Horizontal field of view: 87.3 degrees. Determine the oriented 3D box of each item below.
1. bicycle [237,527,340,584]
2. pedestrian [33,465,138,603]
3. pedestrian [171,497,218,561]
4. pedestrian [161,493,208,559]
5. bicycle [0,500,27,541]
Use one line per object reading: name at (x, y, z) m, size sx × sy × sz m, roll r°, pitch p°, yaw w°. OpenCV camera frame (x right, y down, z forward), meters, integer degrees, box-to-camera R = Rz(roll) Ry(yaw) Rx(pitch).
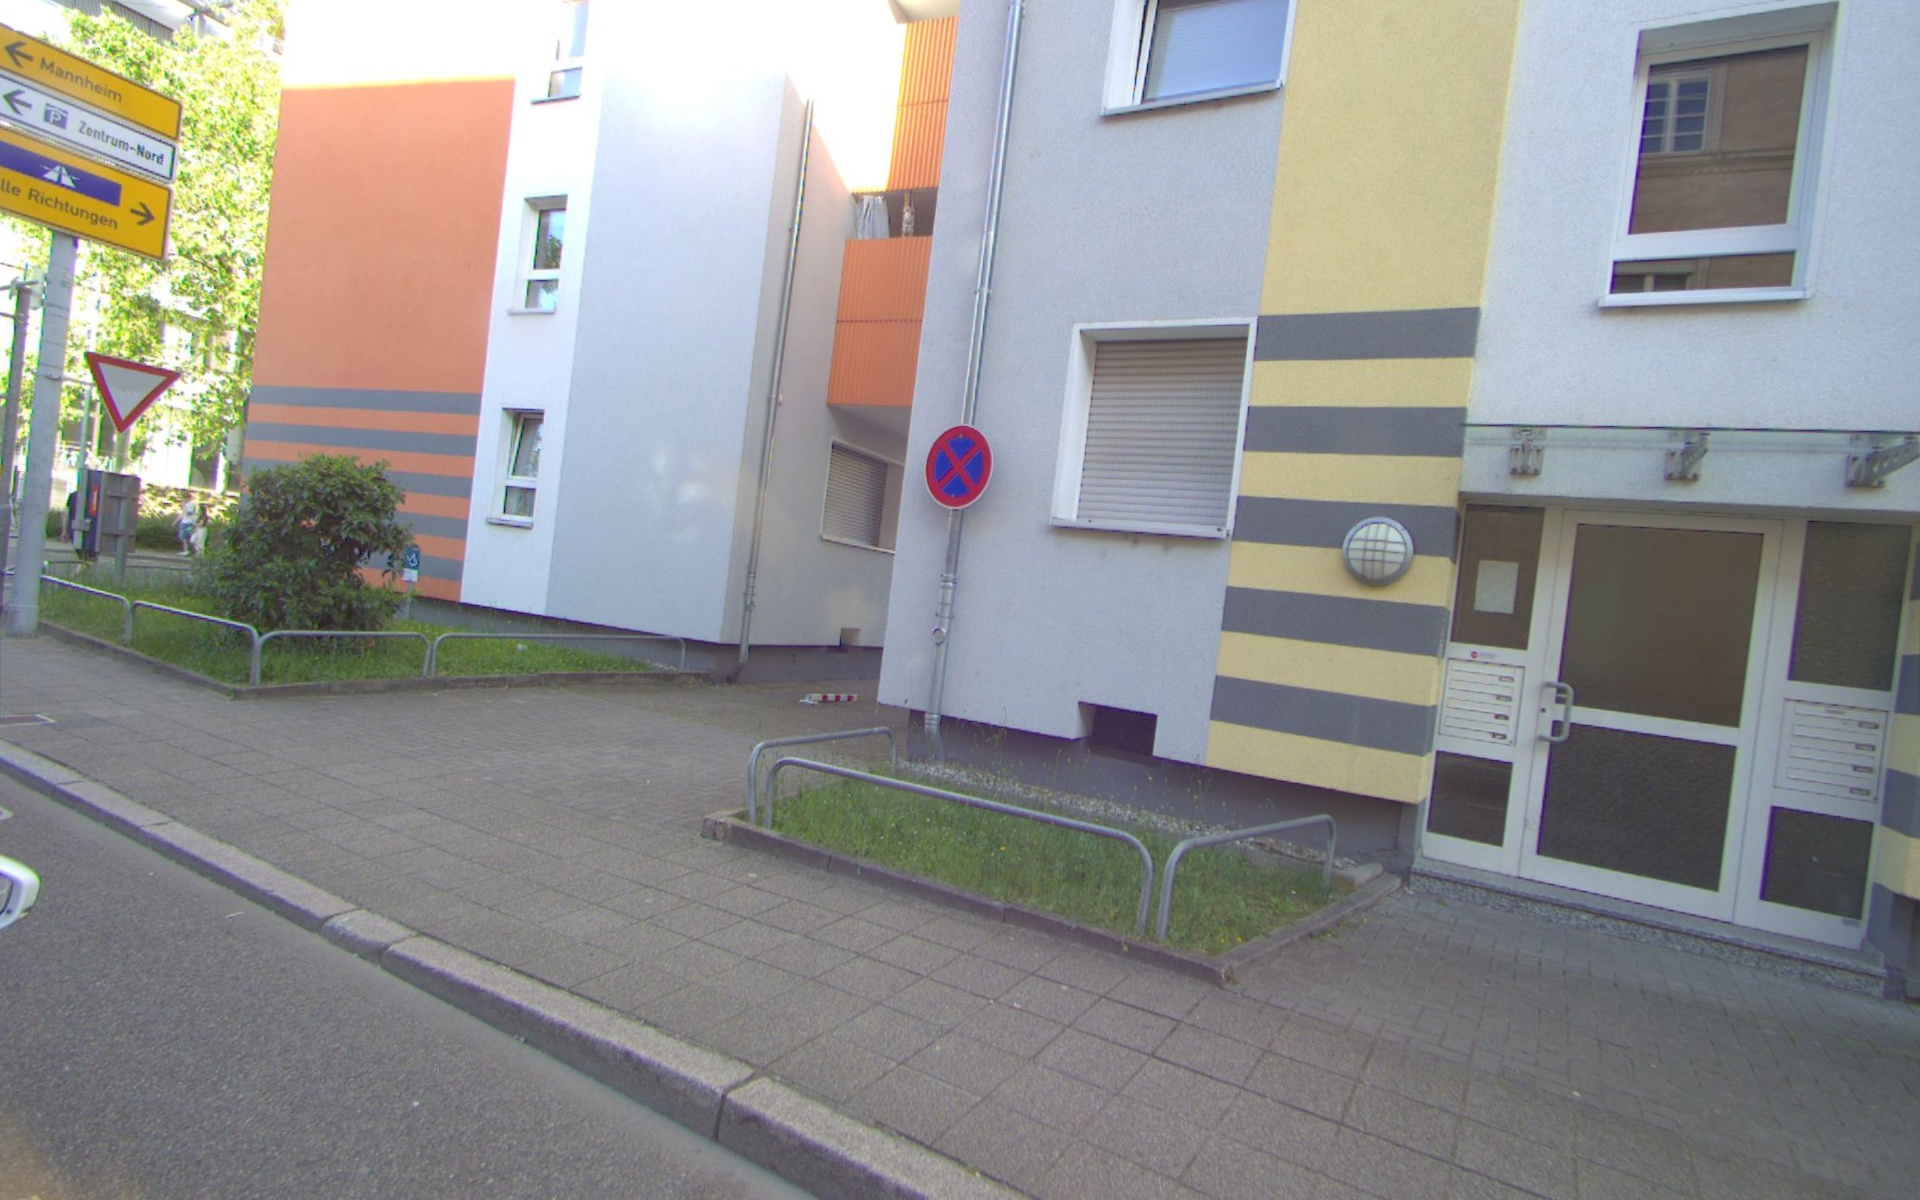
bicycle at (-16.623, -1.084, 24.955) m, size 0.583 × 1.166 × 1.963 m, roll 7°, pitch 0°, yaw 37°
pedestrian at (-12.528, -0.919, 14.437) m, size 0.690 × 1.831 × 0.718 m, roll 7°, pitch -1°, yaw -13°
pedestrian at (-22.558, -2.086, 29.648) m, size 0.637 × 1.739 × 0.766 m, roll 6°, pitch -1°, yaw 34°
pedestrian at (-23.138, -2.203, 30.020) m, size 0.637 × 1.816 × 0.766 m, roll 6°, pitch -1°, yaw 34°
bicycle at (-26.383, -2.230, 27.384) m, size 1.409 × 1.021 × 0.379 m, roll 7°, pitch 1°, yaw -11°
